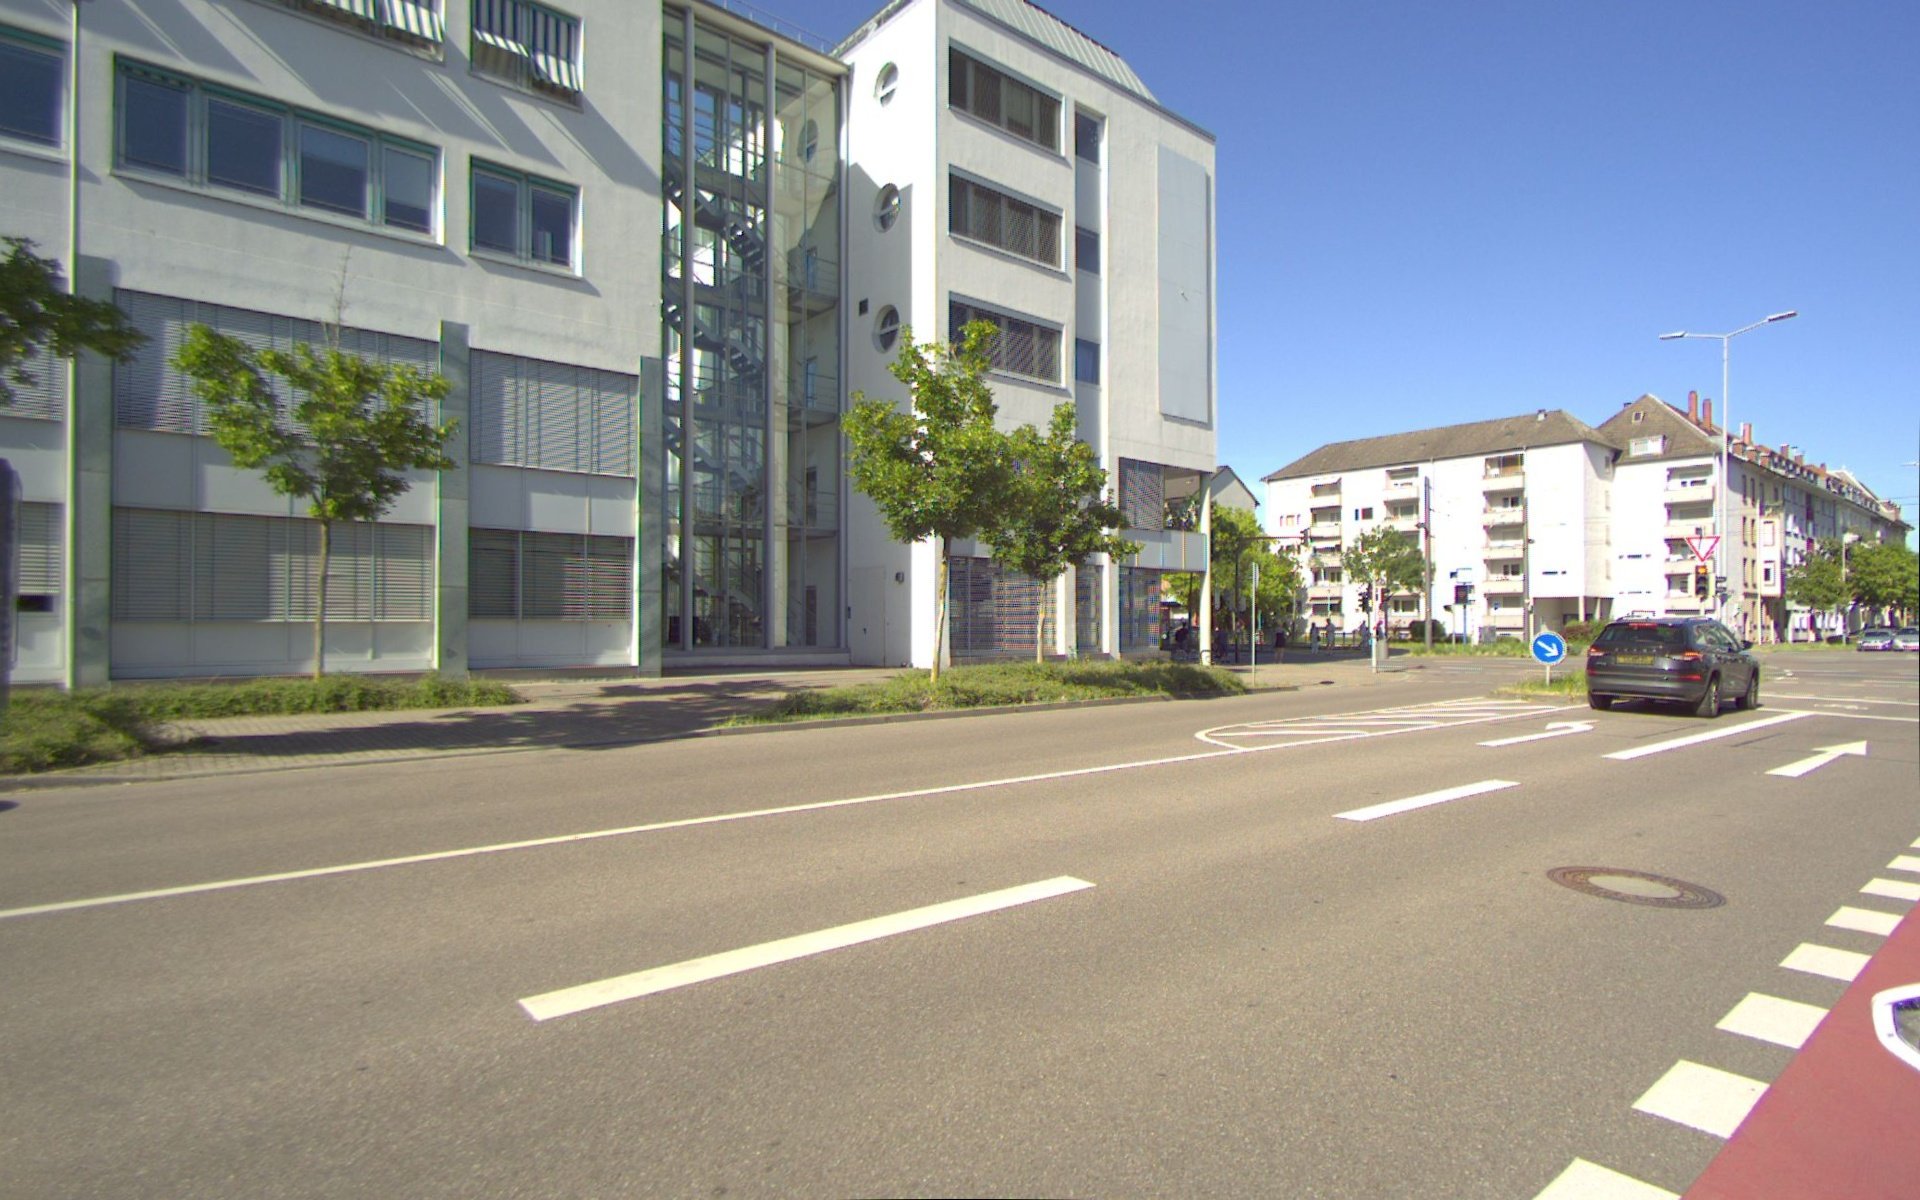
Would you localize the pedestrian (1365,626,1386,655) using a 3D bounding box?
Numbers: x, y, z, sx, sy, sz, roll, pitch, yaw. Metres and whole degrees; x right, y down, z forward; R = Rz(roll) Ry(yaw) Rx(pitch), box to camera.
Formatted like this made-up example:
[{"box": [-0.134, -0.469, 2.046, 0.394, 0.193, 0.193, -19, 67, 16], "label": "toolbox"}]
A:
[{"box": [25.220, 2.434, 60.962, 0.797, 1.749, 1.155, 0, -1, 1], "label": "pedestrian"}]

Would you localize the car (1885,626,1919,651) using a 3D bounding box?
[{"box": [60.064, 2.433, 63.516, 4.361, 1.451, 1.675, 2, 0, -38], "label": "car"}]

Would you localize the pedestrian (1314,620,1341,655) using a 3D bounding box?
[{"box": [18.840, 1.910, 51.499, 0.911, 1.794, 1.147, -2, -2, 45], "label": "pedestrian"}]

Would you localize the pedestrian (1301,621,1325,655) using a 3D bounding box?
[{"box": [18.716, 2.014, 53.257, 0.802, 1.749, 1.147, -2, -2, 45], "label": "pedestrian"}]

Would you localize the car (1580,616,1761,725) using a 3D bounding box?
[{"box": [12.803, 1.170, 17.988, 4.446, 1.650, 1.737, 2, 0, -43], "label": "car"}]

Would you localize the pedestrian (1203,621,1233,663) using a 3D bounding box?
[{"box": [11.044, 1.787, 42.988, 0.802, 1.749, 1.147, -2, -2, 45], "label": "pedestrian"}]

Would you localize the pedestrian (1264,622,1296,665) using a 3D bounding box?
[{"box": [13.093, 1.766, 41.128, 0.802, 1.749, 1.147, -2, -2, 45], "label": "pedestrian"}]

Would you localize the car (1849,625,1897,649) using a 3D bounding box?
[{"box": [61.172, 2.476, 67.272, 4.361, 1.451, 1.675, 2, 0, -38], "label": "car"}]

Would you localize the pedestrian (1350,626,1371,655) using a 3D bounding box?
[{"box": [24.353, 2.467, 61.128, 0.797, 1.749, 1.155, 0, -1, 1], "label": "pedestrian"}]

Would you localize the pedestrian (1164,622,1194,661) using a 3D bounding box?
[{"box": [9.821, 1.850, 45.047, 0.802, 1.749, 1.147, -2, -2, 45], "label": "pedestrian"}]
